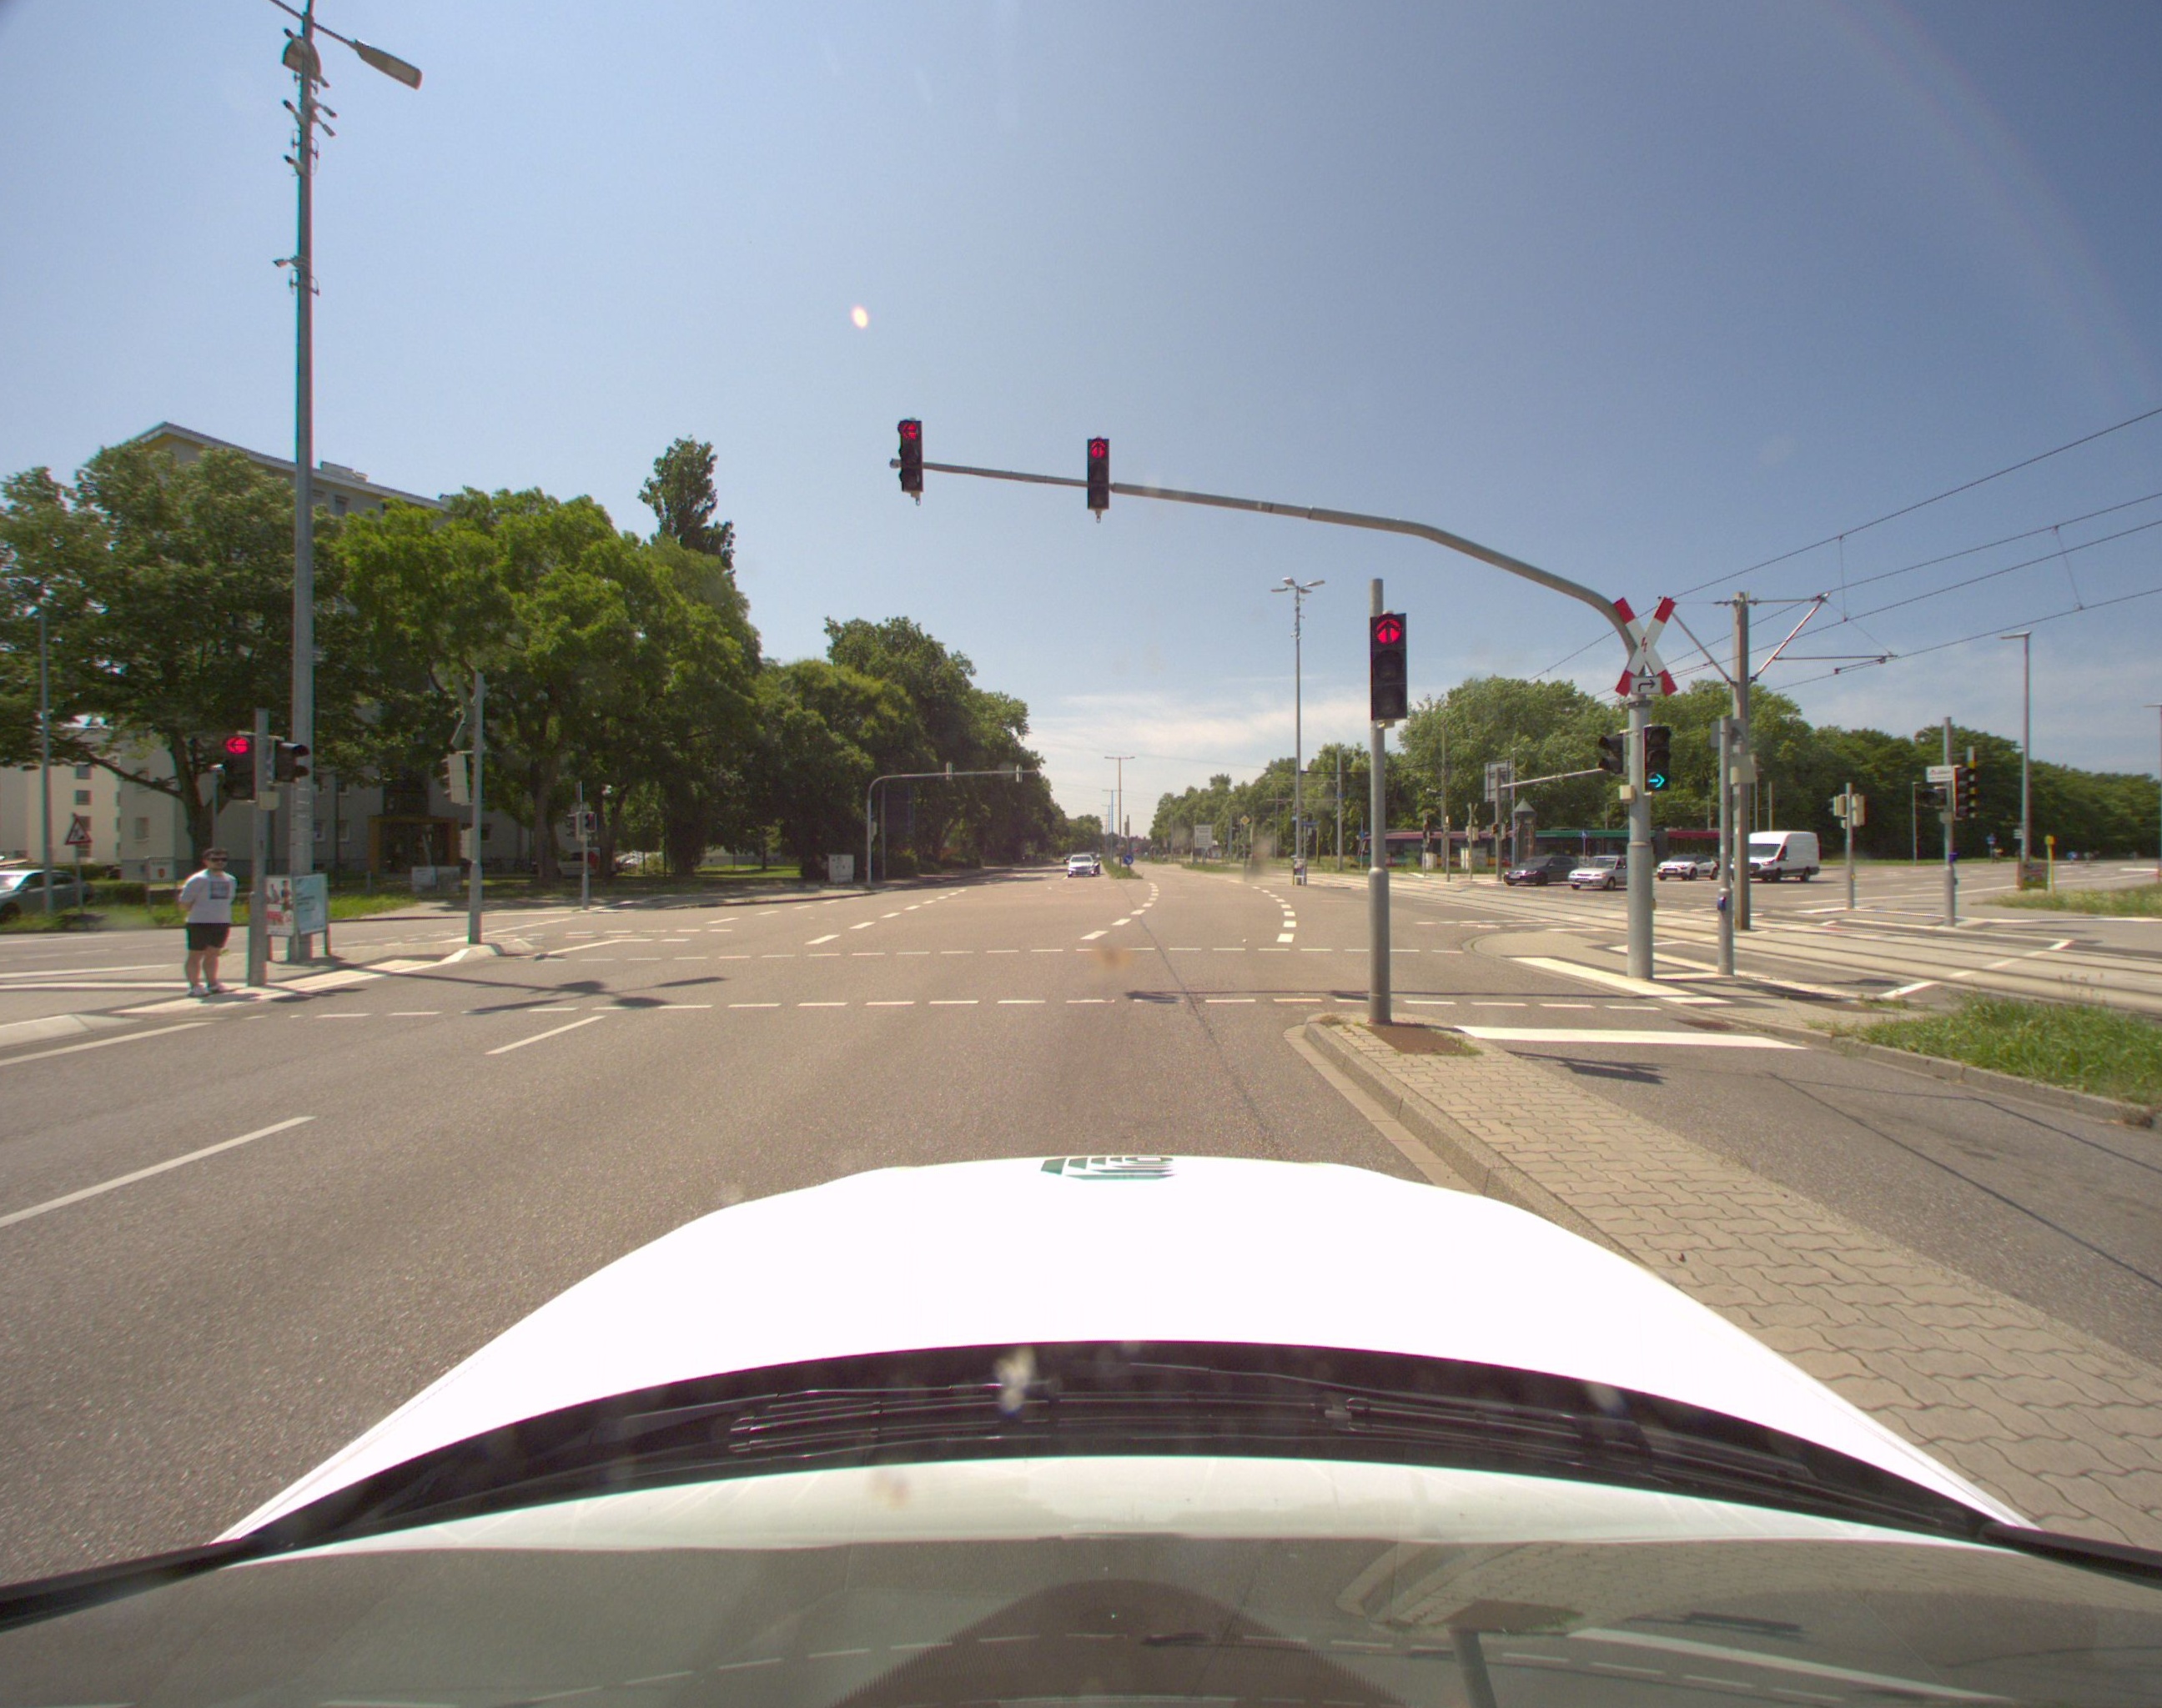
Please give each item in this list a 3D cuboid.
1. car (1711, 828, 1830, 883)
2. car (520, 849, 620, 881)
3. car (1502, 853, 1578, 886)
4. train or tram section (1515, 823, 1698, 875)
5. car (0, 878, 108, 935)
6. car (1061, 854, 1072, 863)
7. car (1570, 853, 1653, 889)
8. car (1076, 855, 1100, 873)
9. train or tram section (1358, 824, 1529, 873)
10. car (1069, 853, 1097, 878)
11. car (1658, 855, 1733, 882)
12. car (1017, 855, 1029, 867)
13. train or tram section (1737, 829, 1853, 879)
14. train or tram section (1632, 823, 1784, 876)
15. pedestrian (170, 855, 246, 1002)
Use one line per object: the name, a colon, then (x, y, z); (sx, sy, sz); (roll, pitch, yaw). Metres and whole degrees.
car: (37.519, 0.047, 44.281); (7.306, 2.802, 2.691); (0, 0, -31)
car: (-29.666, 0.628, 47.389); (1.769, 1.768, 4.577); (0, 0, 41)
car: (21.987, 0.711, 38.987); (3.519, 1.463, 1.624); (0, 0, -30)
train or tram section: (42.763, -0.335, 66.486); (13.382, 3.812, 2.919); (1, -3, -4)
car: (-29.196, 1.397, 22.193); (1.629, 1.380, 3.973); (1, 0, -20)
car: (-2.304, 0.696, 131.090); (1.665, 1.490, 3.712); (0, 0, 2)
car: (23.071, 0.714, 35.389); (3.821, 1.463, 1.623); (0, 0, -34)
car: (0.550, 0.738, 61.733); (1.704, 1.365, 3.867); (0, 0, 2)
train or tram section: (30.288, -0.345, 68.717); (12.914, 3.812, 2.939); (0, -3, 24)
car: (0.167, 0.755, 54.390); (1.778, 1.629, 3.867); (0, 0, 2)
car: (34.644, 0.782, 45.876); (4.504, 1.463, 1.625); (0, 0, -28)
car: (-10.333, 1.326, 145.241); (1.988, 2.014, 3.997); (3, -1, -2)
train or tram section: (64.896, 0.161, 73.840); (13.993, 3.920, 2.897); (2, -3, -27)
train or tram section: (52.765, -0.246, 68.410); (14.039, 3.920, 2.904); (2, -3, -19)
pedestrian: (-10.306, 0.855, 9.624); (0.381, 1.687, 0.485); (0, 0, -2)
